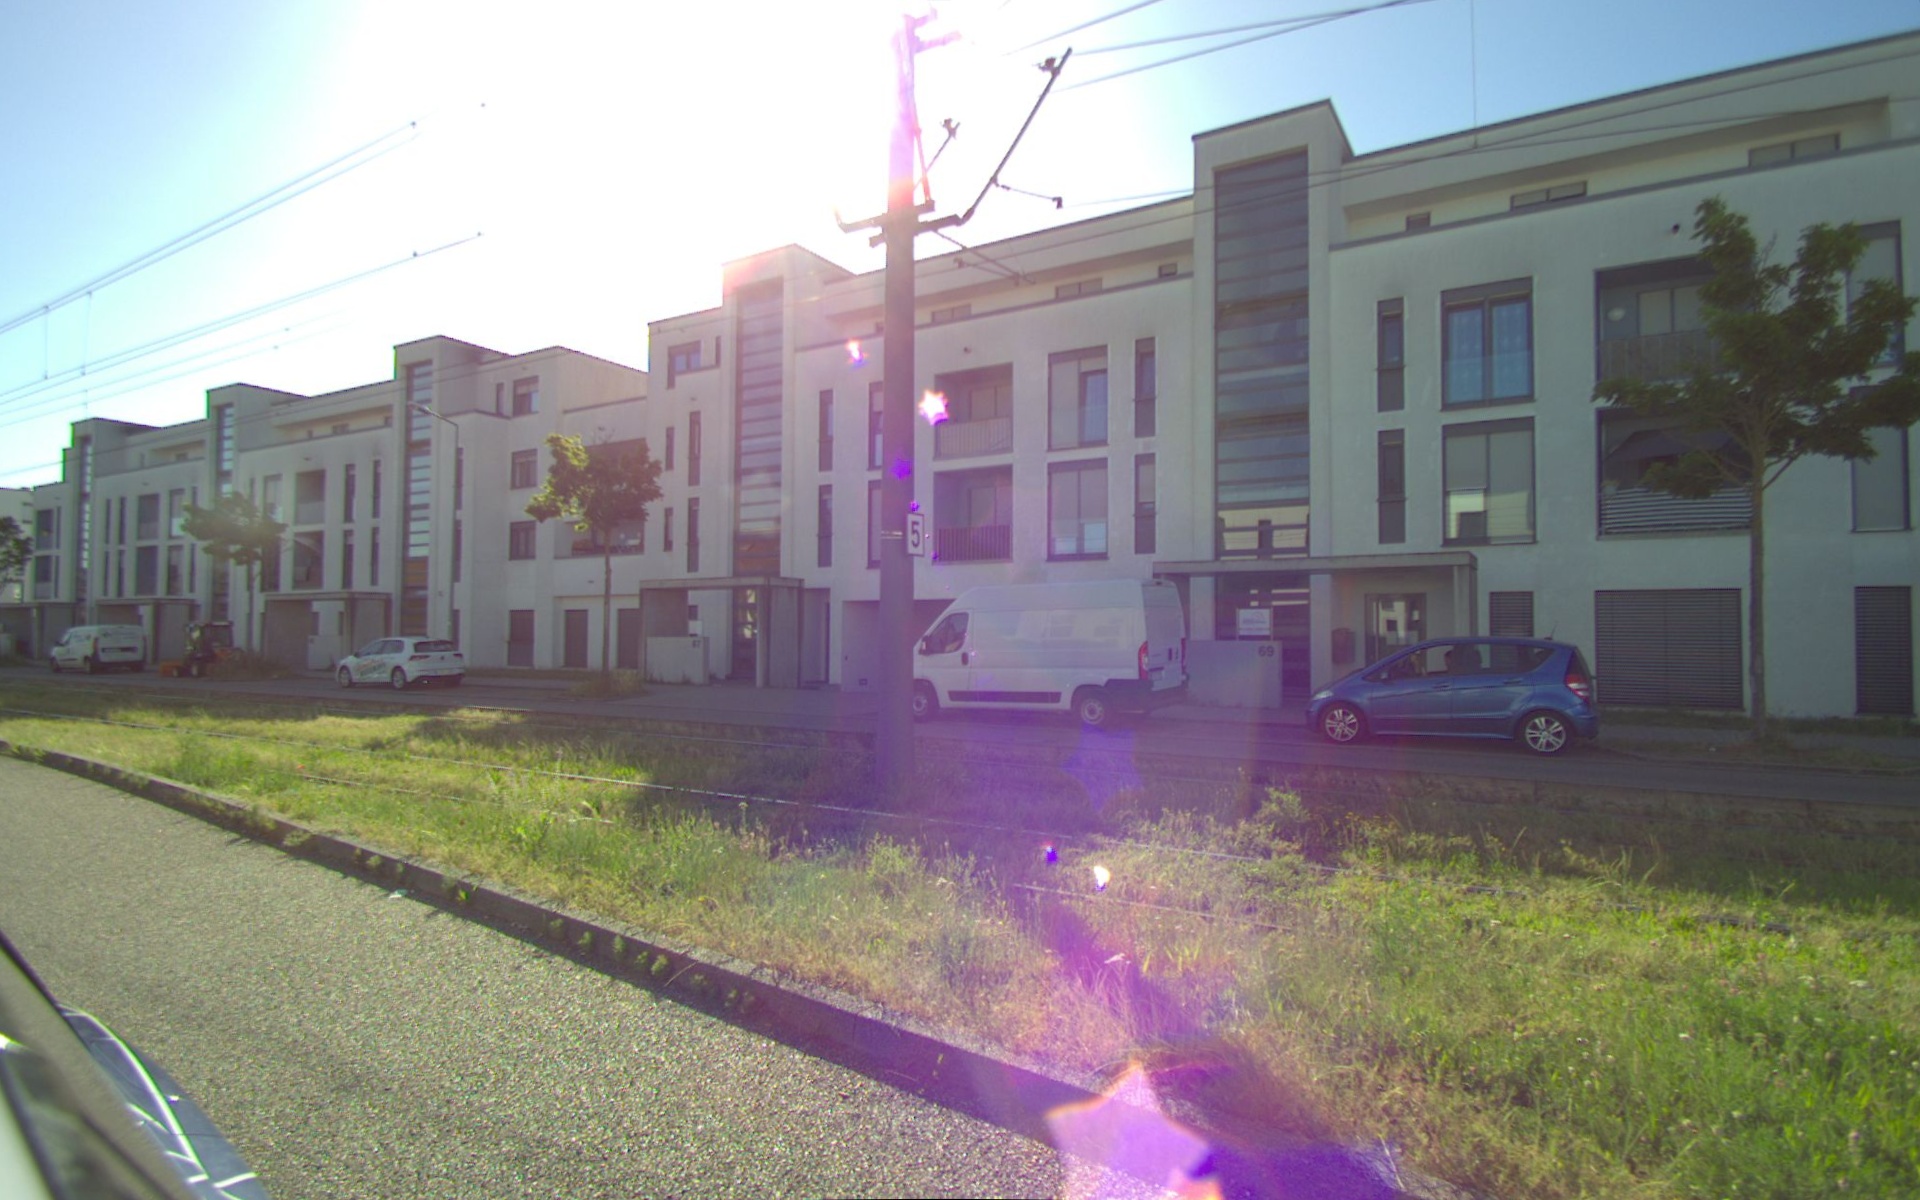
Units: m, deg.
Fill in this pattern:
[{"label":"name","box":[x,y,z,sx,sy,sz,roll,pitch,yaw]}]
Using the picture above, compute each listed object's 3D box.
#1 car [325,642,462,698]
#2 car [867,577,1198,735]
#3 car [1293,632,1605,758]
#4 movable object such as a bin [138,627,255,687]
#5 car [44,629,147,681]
[{"label":"car","box":[-16.195,1.960,28.902,4.139,1.443,1.507,-2,-1,29]},{"label":"car","box":[1.210,0.947,18.179,5.570,2.463,2.124,-2,-2,32]},{"label":"car","box":[6.986,1.271,14.558,3.831,1.548,1.809,-2,-2,33]},{"label":"movable object such as a bin","box":[-26.646,1.955,35.292,4.139,1.952,1.750,-2,-1,29]},{"label":"car","box":[-33.621,2.112,39.332,4.139,1.884,1.750,-2,-1,29]}]
